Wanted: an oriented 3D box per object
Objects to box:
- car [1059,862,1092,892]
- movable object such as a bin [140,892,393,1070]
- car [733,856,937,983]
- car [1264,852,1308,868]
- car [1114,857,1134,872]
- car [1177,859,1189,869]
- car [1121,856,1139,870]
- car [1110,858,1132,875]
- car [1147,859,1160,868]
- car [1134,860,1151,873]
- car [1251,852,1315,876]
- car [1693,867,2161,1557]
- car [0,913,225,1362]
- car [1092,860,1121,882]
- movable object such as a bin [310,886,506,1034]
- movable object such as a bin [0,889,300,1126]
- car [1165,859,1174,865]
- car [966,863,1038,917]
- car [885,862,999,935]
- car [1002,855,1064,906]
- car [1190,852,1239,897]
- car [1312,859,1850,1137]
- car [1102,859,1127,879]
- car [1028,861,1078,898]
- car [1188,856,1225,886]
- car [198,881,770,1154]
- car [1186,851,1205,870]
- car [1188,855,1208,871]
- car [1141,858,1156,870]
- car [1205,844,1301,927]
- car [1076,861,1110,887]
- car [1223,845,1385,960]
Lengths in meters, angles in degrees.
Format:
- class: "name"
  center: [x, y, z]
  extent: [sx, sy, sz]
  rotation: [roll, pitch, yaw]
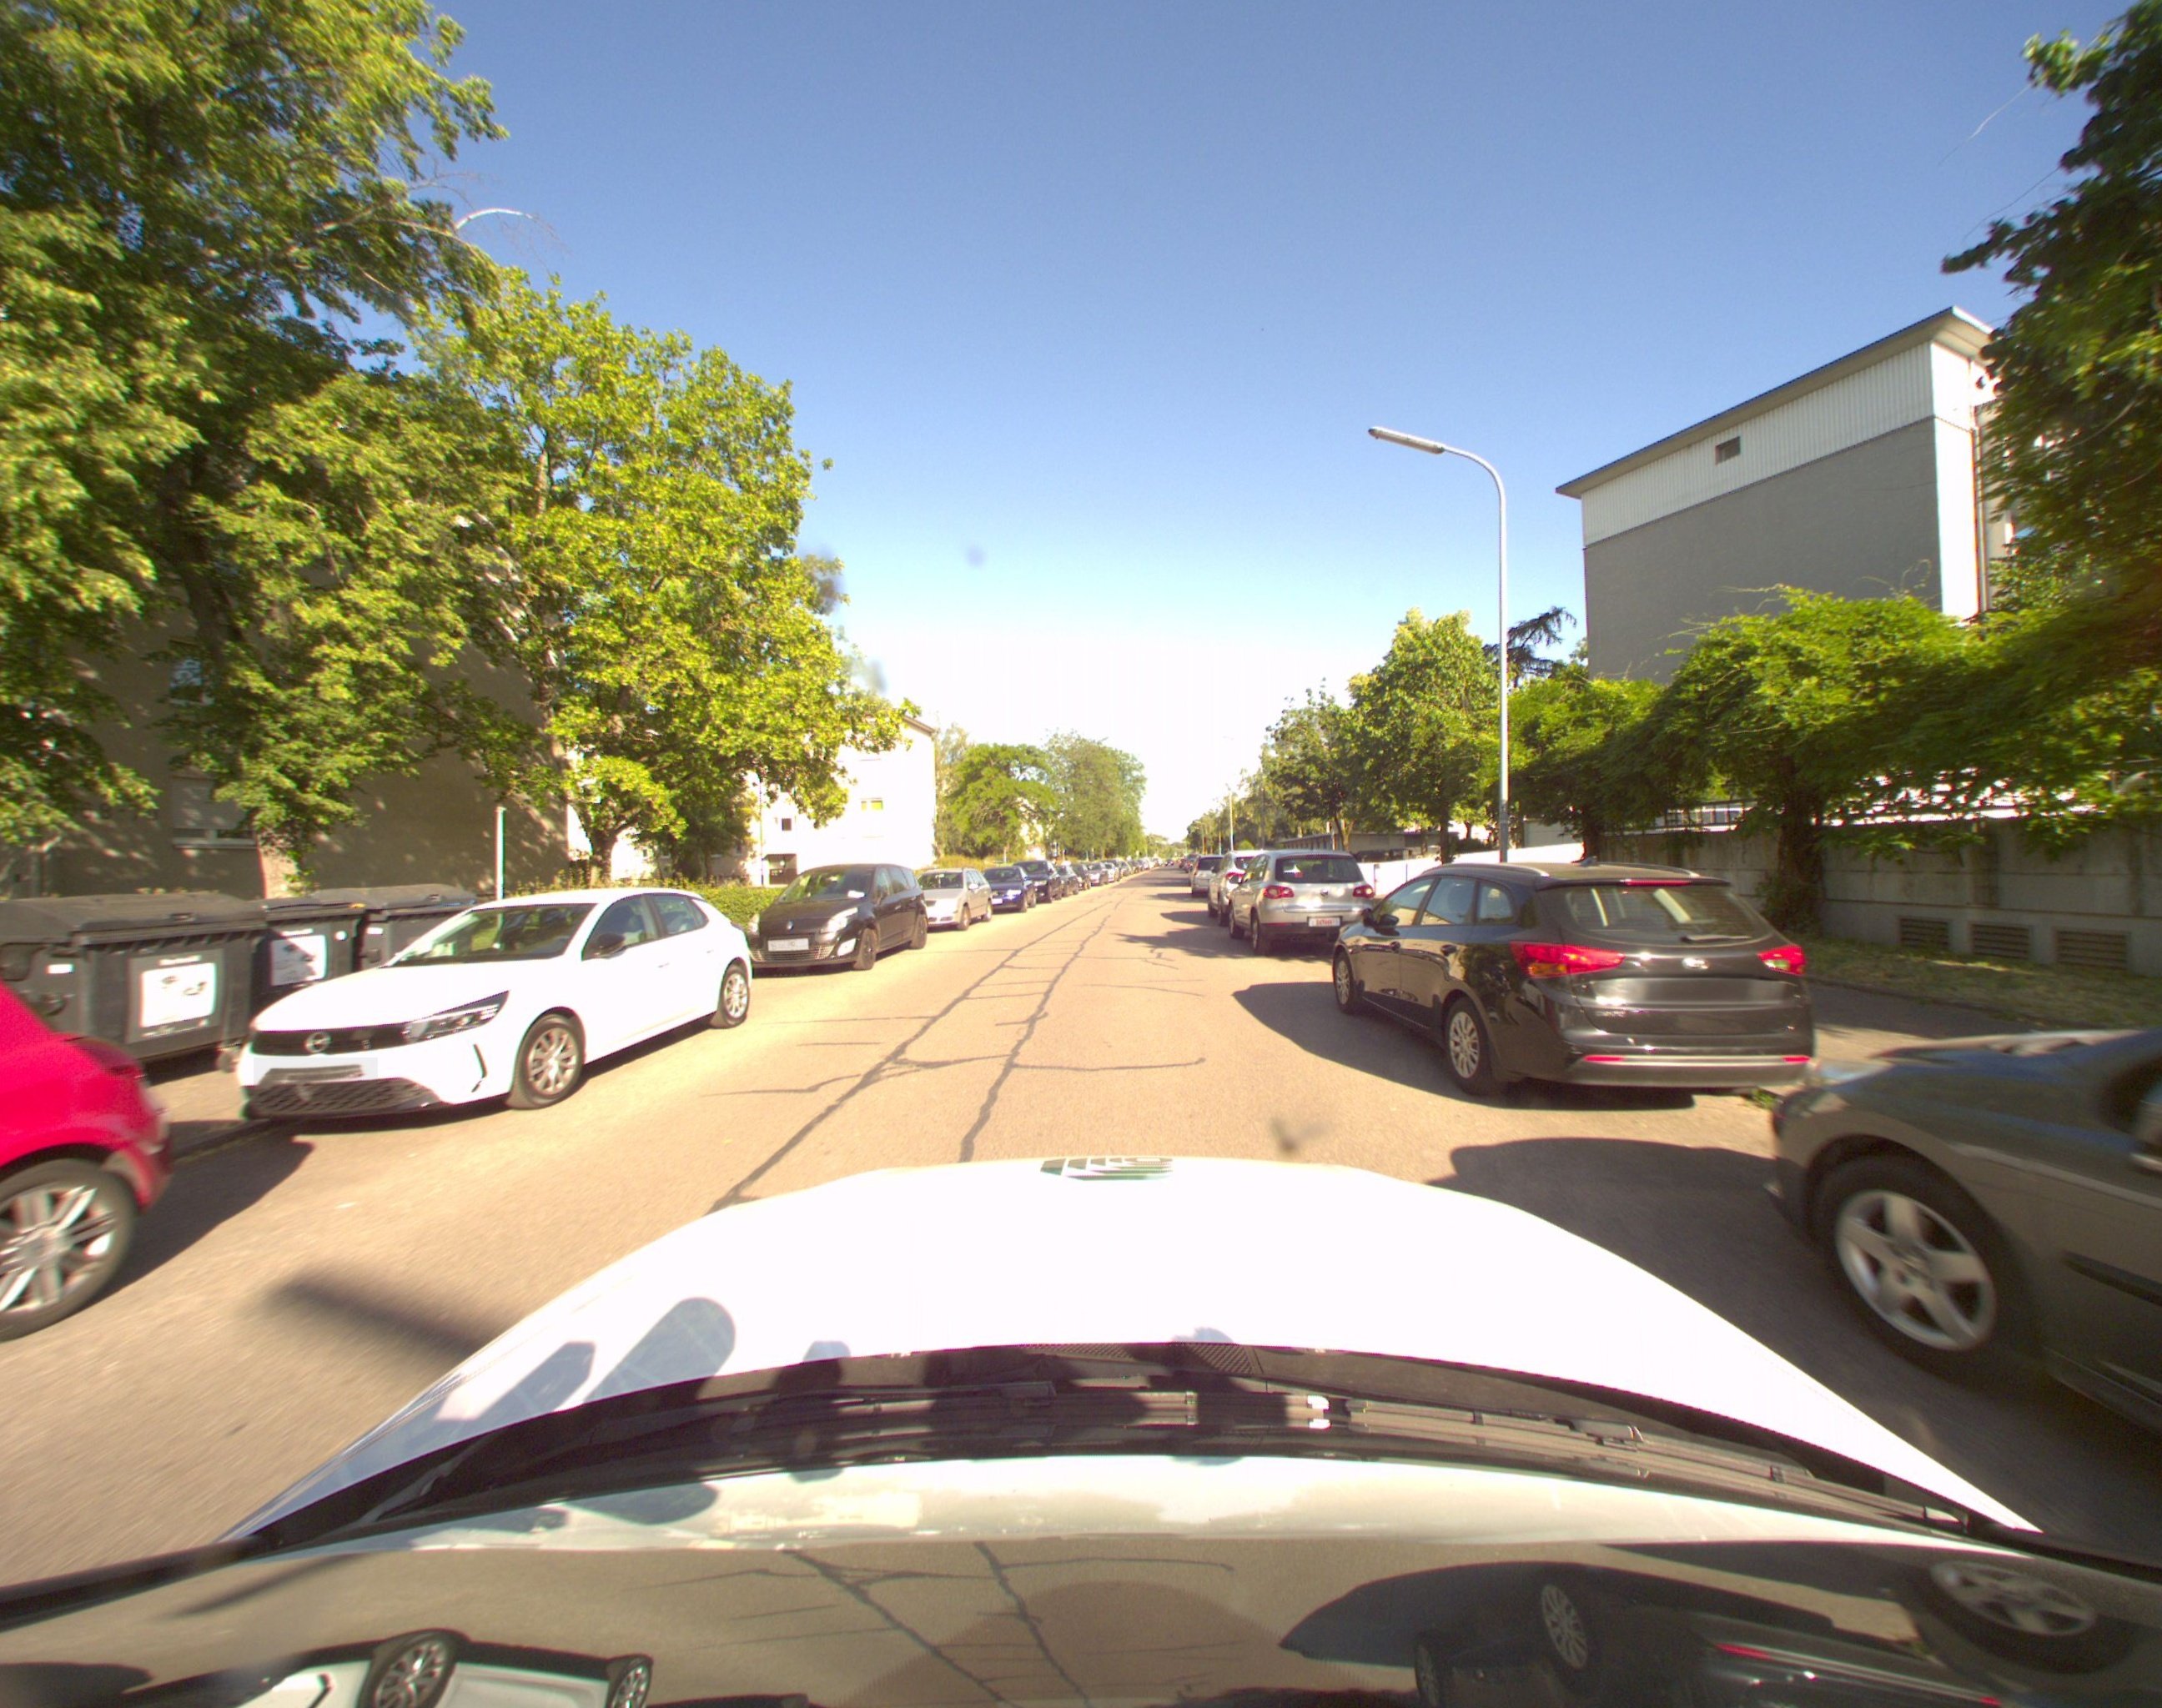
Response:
- class: "car"
  center: [-0.275, 1.225, 44.338]
  extent: [1.382, 1.413, 3.130]
  rotation: [-4, 0, 6]
- class: "movable object such as a bin"
  center: [-7.524, 1.117, 7.629]
  extent: [0.985, 1.418, 1.314]
  rotation: [-2, 0, -1]
- class: "car"
  center: [-3.816, 0.923, 13.537]
  extent: [1.663, 1.666, 4.411]
  rotation: [-3, 0, 4]
- class: "car"
  center: [20.858, 0.641, 82.980]
  extent: [4.196, 1.530, 1.834]
  rotation: [-1, -3, 7]
- class: "car"
  center: [4.241, 1.001, 79.337]
  extent: [1.500, 1.329, 3.476]
  rotation: [-4, 0, 9]
- class: "car"
  center: [15.797, 1.542, 125.933]
  extent: [1.814, 1.325, 4.243]
  rotation: [-1, 1, 8]
- class: "car"
  center: [5.259, 0.962, 87.941]
  extent: [1.500, 1.329, 3.476]
  rotation: [-4, 0, 9]
- class: "car"
  center: [3.627, 1.104, 73.358]
  extent: [1.500, 1.381, 3.476]
  rotation: [-4, 0, 9]
- class: "car"
  center: [12.329, 1.593, 138.250]
  extent: [1.813, 1.466, 4.244]
  rotation: [-1, 1, 9]
- class: "car"
  center: [8.024, 1.602, 105.261]
  extent: [1.813, 1.466, 4.244]
  rotation: [-1, 1, 9]
- class: "car"
  center: [14.245, 0.689, 57.654]
  extent: [4.196, 1.593, 1.834]
  rotation: [-1, 0, 7]
- class: "car"
  center: [3.180, 0.784, 1.248]
  extent: [1.678, 1.487, 3.825]
  rotation: [0, 0, 1]
- class: "car"
  center: [-4.566, 1.032, 1.644]
  extent: [1.664, 1.474, 3.679]
  rotation: [-3, 0, 1]
- class: "car"
  center: [1.821, 1.208, 57.295]
  extent: [1.500, 1.364, 3.476]
  rotation: [-4, 0, 9]
- class: "movable object such as a bin"
  center: [-7.342, 1.110, 8.980]
  extent: [0.984, 1.418, 1.315]
  rotation: [-2, 0, 1]
- class: "movable object such as a bin"
  center: [-7.200, 1.074, 6.183]
  extent: [1.107, 1.498, 1.408]
  rotation: [-2, 0, -1]
- class: "car"
  center: [19.228, 1.737, 176.335]
  extent: [1.934, 1.289, 4.241]
  rotation: [-1, 1, 6]
- class: "car"
  center: [-2.395, 1.055, 25.578]
  extent: [1.654, 1.426, 4.050]
  rotation: [-4, 0, 2]
- class: "car"
  center: [-3.266, 1.000, 19.937]
  extent: [1.652, 1.486, 4.059]
  rotation: [-4, 0, 5]
- class: "car"
  center: [-1.748, 0.952, 31.084]
  extent: [1.652, 1.688, 4.055]
  rotation: [-4, 0, 5]
- class: "car"
  center: [5.205, 0.748, 32.217]
  extent: [1.688, 1.641, 4.241]
  rotation: [-1, 0, 6]
- class: "car"
  center: [3.263, 0.776, 6.465]
  extent: [1.676, 1.456, 4.291]
  rotation: [0, 0, 1]
- class: "car"
  center: [2.694, 1.153, 65.066]
  extent: [1.500, 1.434, 3.476]
  rotation: [-4, 0, 9]
- class: "car"
  center: [-1.204, 1.085, 36.332]
  extent: [1.652, 1.439, 3.765]
  rotation: [-4, 0, 5]
- class: "car"
  center: [6.915, 0.879, 44.694]
  extent: [1.813, 1.466, 4.245]
  rotation: [-3, 0, 10]
- class: "car"
  center: [-4.314, 1.045, 6.798]
  extent: [1.663, 1.421, 3.905]
  rotation: [-3, 0, 4]
- class: "car"
  center: [11.987, 0.689, 85.584]
  extent: [1.815, 1.802, 4.241]
  rotation: [-1, 1, 6]
- class: "car"
  center: [11.479, 0.900, 79.903]
  extent: [1.815, 1.466, 4.241]
  rotation: [-2, 0, 6]
- class: "car"
  center: [9.612, 1.381, 115.295]
  extent: [1.813, 1.466, 4.244]
  rotation: [-1, 1, 9]
- class: "car"
  center: [3.898, 0.669, 19.084]
  extent: [1.645, 1.698, 4.238]
  rotation: [-1, 0, 4]
- class: "car"
  center: [0.791, 1.225, 51.155]
  extent: [1.500, 1.451, 3.700]
  rotation: [-4, 0, 9]
- class: "car"
  center: [3.555, 0.702, 13.775]
  extent: [1.723, 1.619, 4.236]
  rotation: [-1, 0, 2]
